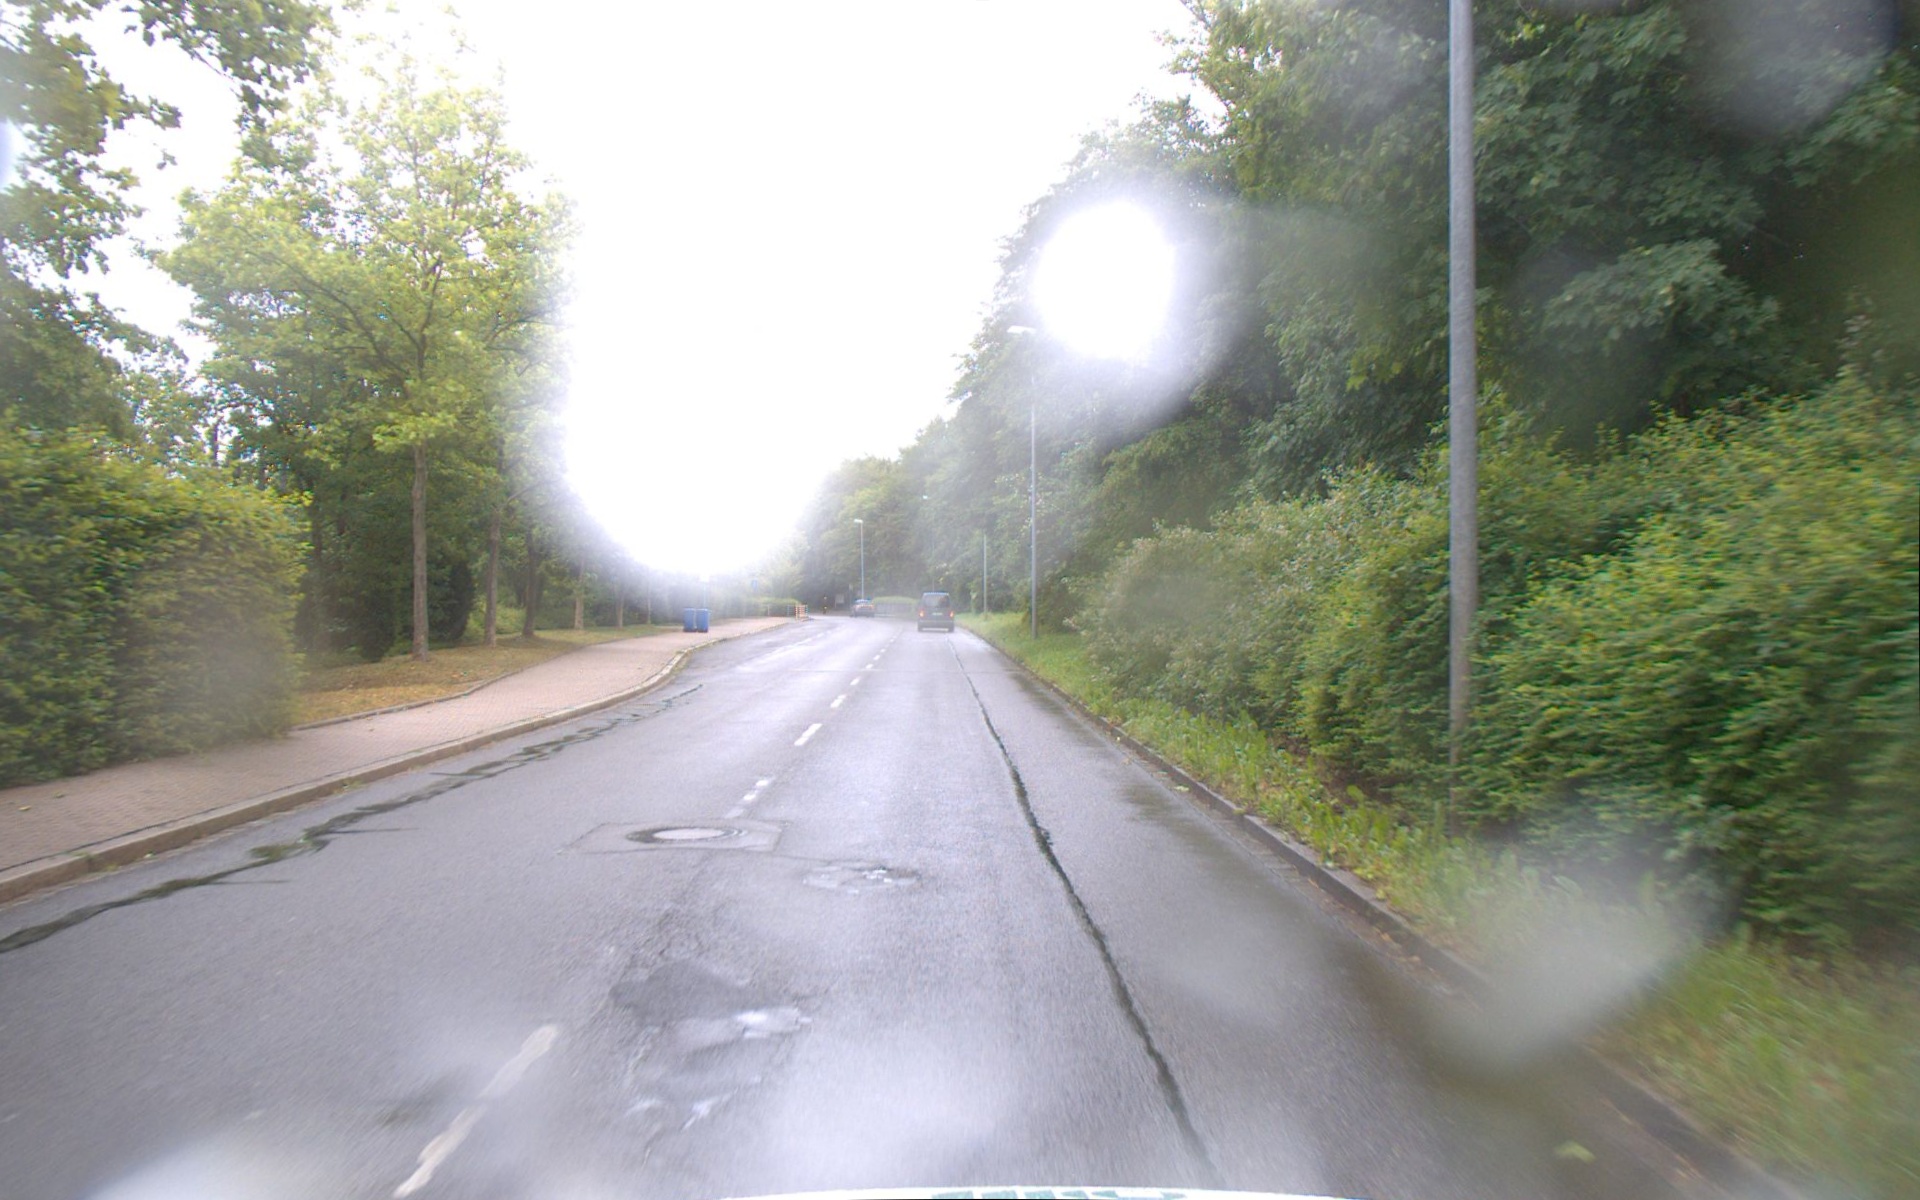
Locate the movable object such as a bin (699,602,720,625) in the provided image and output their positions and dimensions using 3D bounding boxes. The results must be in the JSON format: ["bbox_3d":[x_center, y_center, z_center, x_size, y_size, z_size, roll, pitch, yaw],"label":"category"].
[{"bbox_3d":[-11.734,0.635,77.333,0.660,1.044,0.825,-3,1,-33],"label":"movable object such as a bin"}]

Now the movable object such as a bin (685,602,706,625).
[{"bbox_3d":[-12.307,0.640,76.907,0.660,1.044,0.825,-3,1,-33],"label":"movable object such as a bin"}]

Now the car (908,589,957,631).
[{"bbox_3d":[-1.361,0.463,79.725,1.955,1.825,3.995,3,1,-6],"label":"car"}]

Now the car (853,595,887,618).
[{"bbox_3d":[-7.539,0.533,137.873,1.961,1.803,3.983,-1,1,-16],"label":"car"}]
